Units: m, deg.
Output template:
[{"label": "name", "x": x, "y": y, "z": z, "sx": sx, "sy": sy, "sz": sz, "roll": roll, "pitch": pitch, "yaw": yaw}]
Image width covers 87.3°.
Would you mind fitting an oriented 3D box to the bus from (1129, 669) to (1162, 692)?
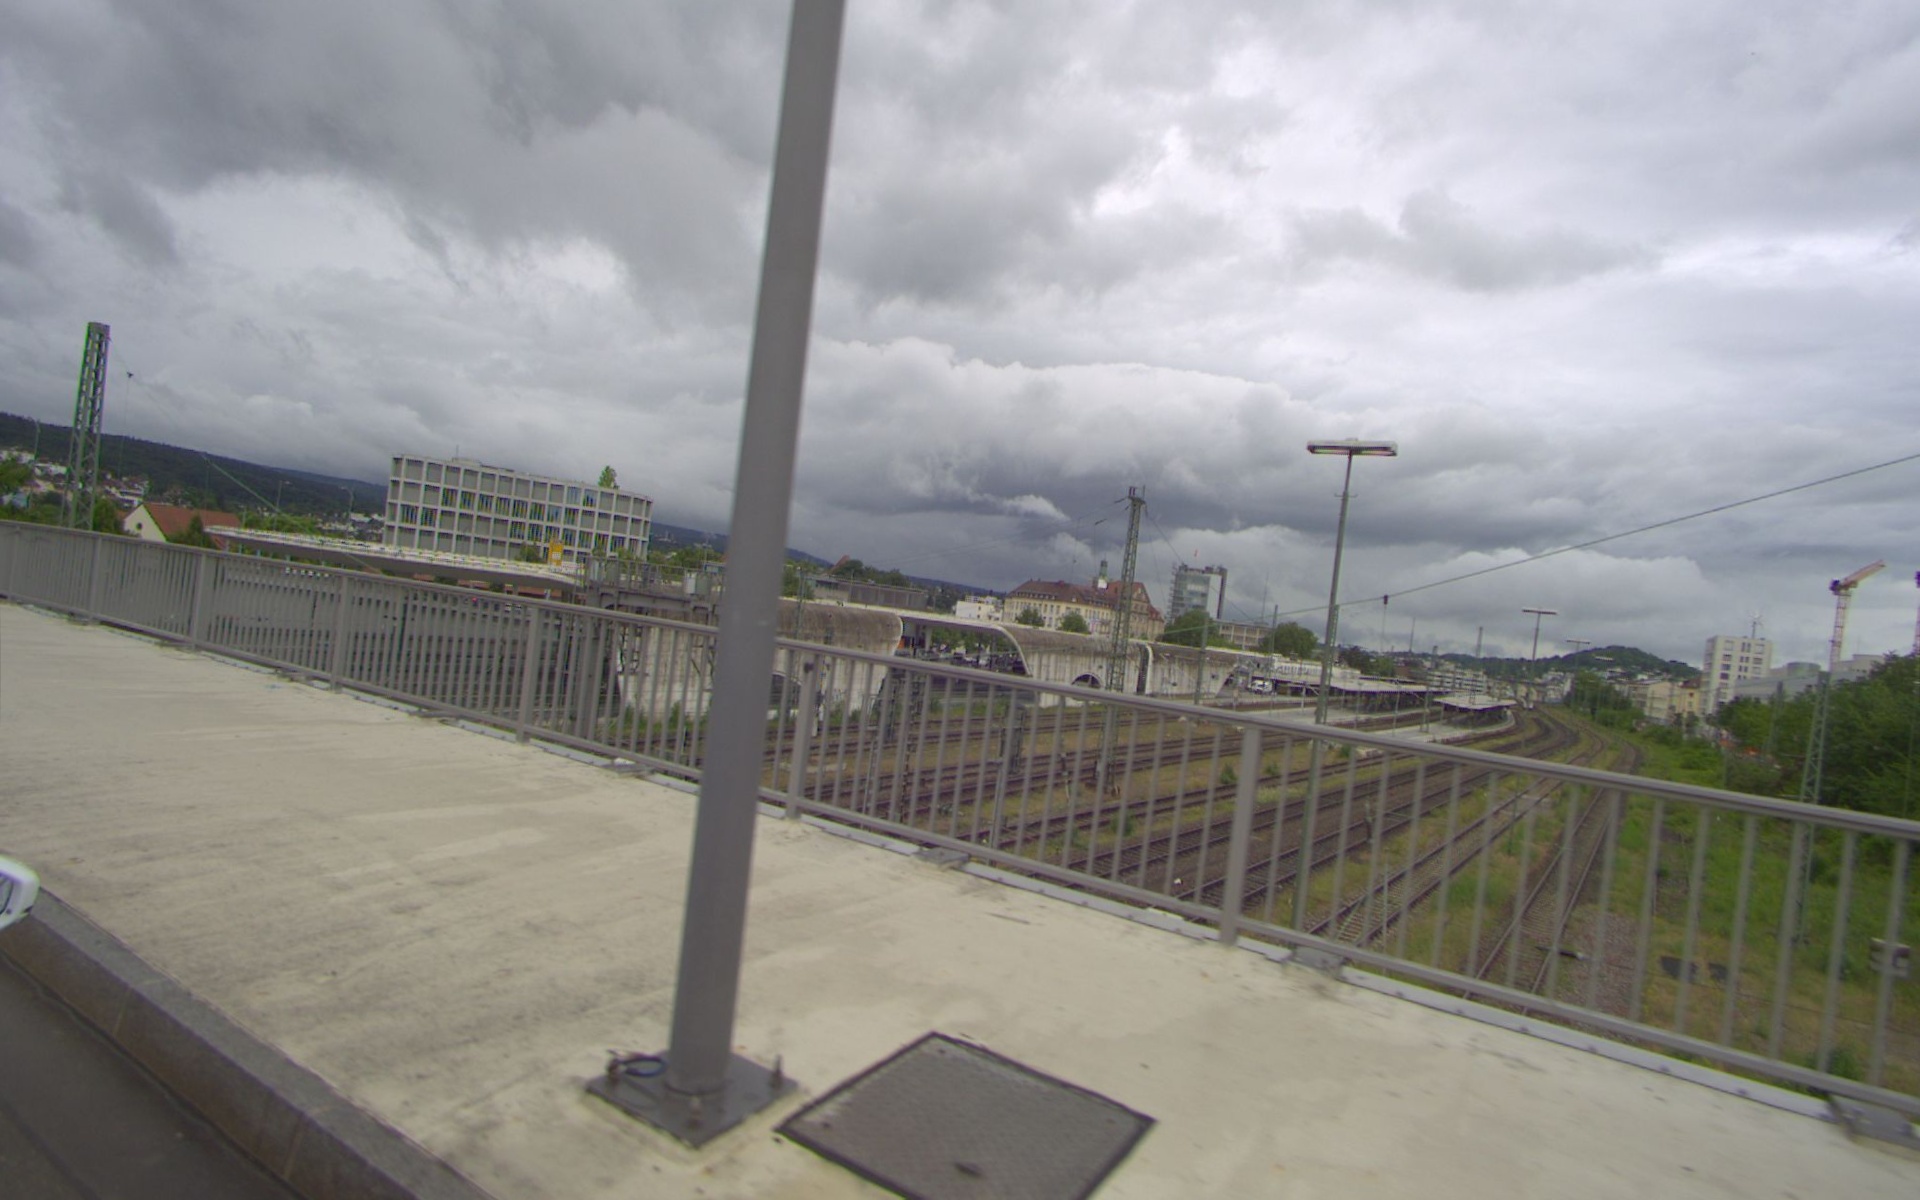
[{"label": "bus", "x": 30.126, "y": 13.058, "z": 163.077, "sx": 2.566, "sy": 3.247, "sz": 6.981, "roll": 7, "pitch": -2, "yaw": 33}]
